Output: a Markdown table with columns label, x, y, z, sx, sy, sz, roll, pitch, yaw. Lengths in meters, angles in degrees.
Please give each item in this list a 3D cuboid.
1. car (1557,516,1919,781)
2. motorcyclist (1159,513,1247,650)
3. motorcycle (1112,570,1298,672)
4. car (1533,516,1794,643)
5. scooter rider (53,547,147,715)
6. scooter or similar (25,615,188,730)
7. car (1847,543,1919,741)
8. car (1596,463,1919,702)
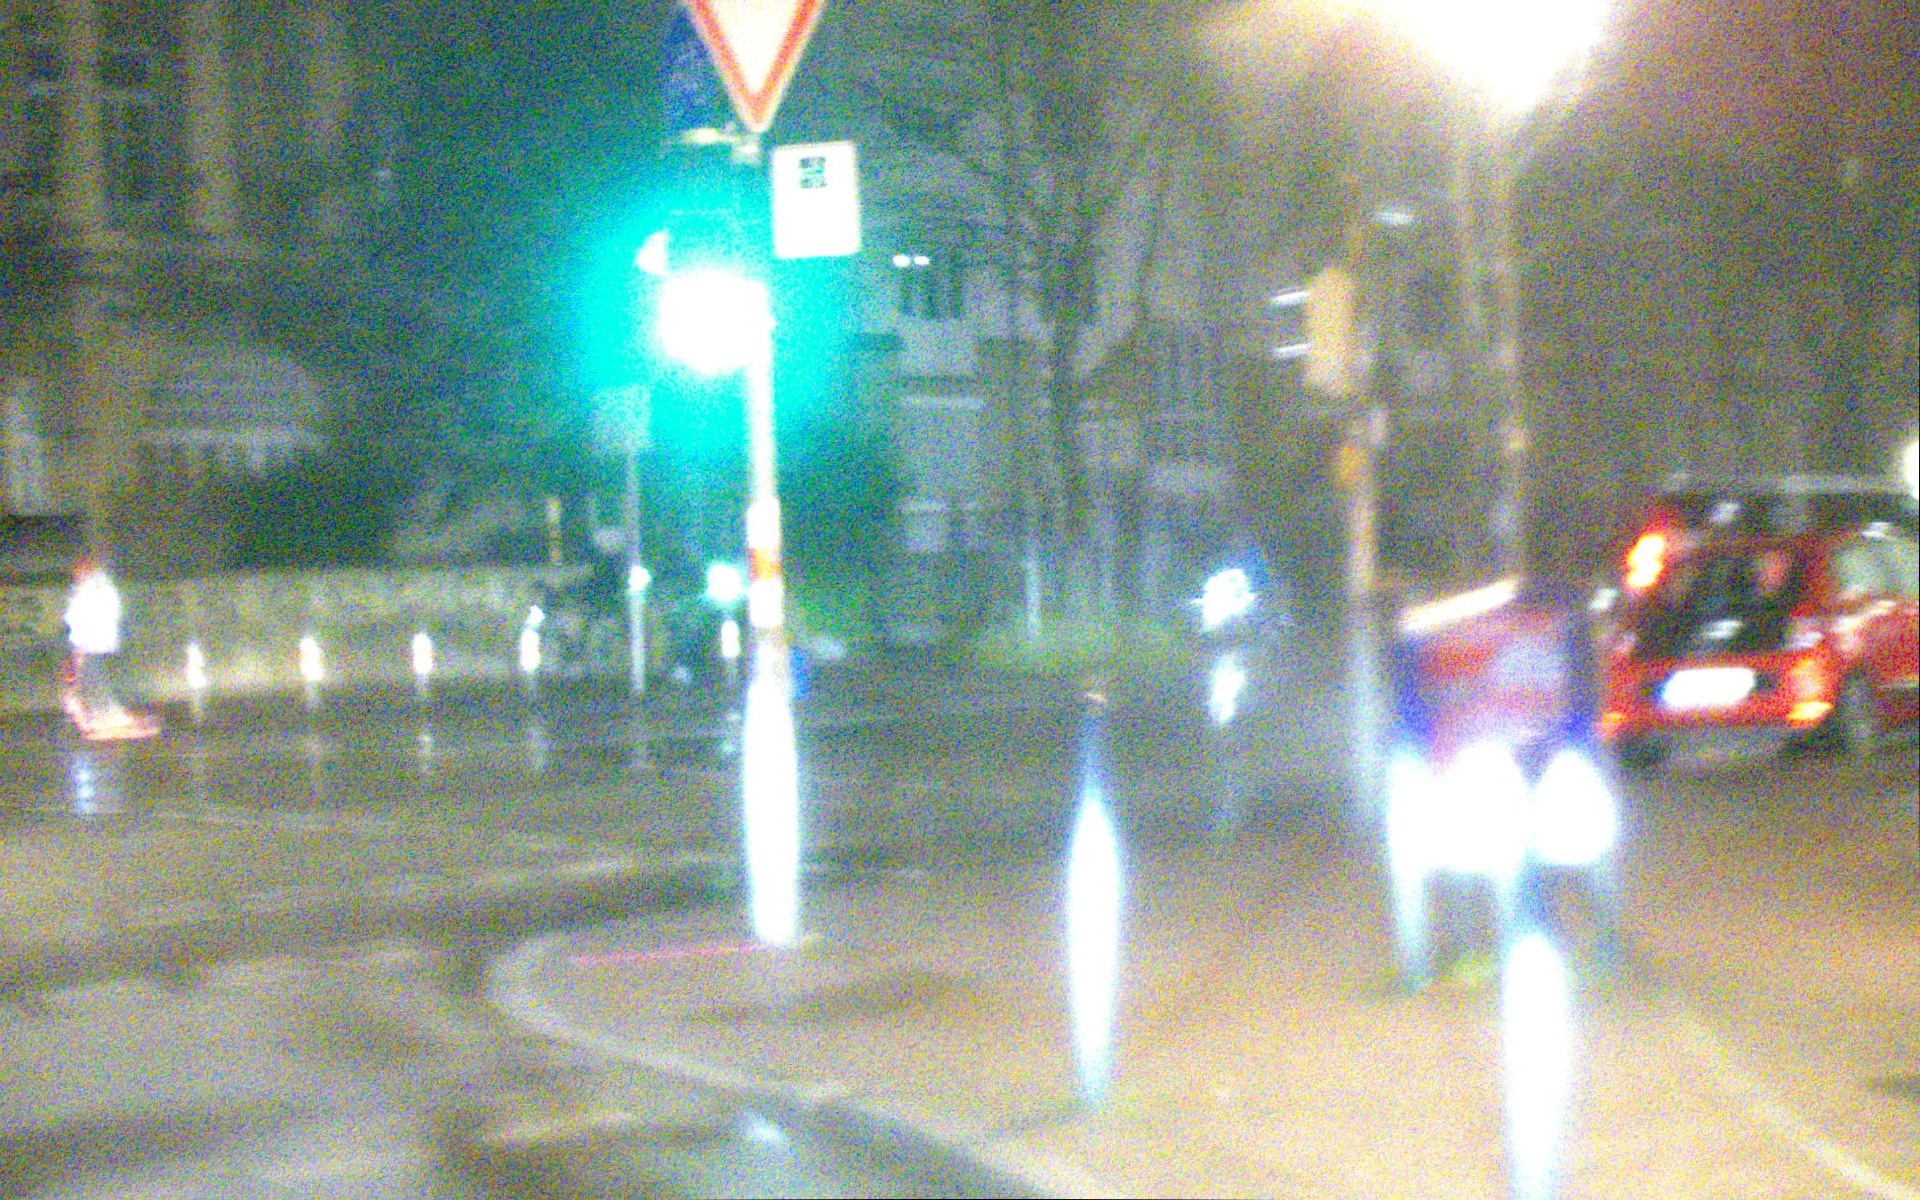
| label | x | y | z | sx | sy | sz | roll | pitch | yaw |
| --- | --- | --- | --- | --- | --- | --- | --- | --- | --- |
| car | 5.613 | 0.277 | 22.817 | 1.651 | 1.520 | 3.573 | -6 | -2 | 38 |
| motorcyclist | 3.173 | -0.235 | 44.976 | 1.025 | 1.725 | 0.710 | -3 | -1 | 0 |
| motorcycle | 3.194 | 0.282 | 44.962 | 2.318 | 1.226 | 0.710 | -3 | -1 | 0 |
| car | 11.572 | -0.388 | 56.293 | 1.998 | 1.819 | 5.297 | 3 | 4 | 38 |
| scooter rider | -8.226 | 0.287 | 32.884 | 0.650 | 1.567 | 0.642 | 0 | 2 | -40 |
| scooter or similar | -8.174 | 0.683 | 32.944 | 1.365 | 1.048 | 0.642 | 0 | 2 | -40 |
| car | 8.623 | 0.214 | 26.929 | 1.648 | 1.437 | 4.047 | -6 | -2 | 38 |
| car | 9.220 | -0.255 | 37.825 | 2.221 | 2.433 | 5.373 | 0 | 2 | 37 |
